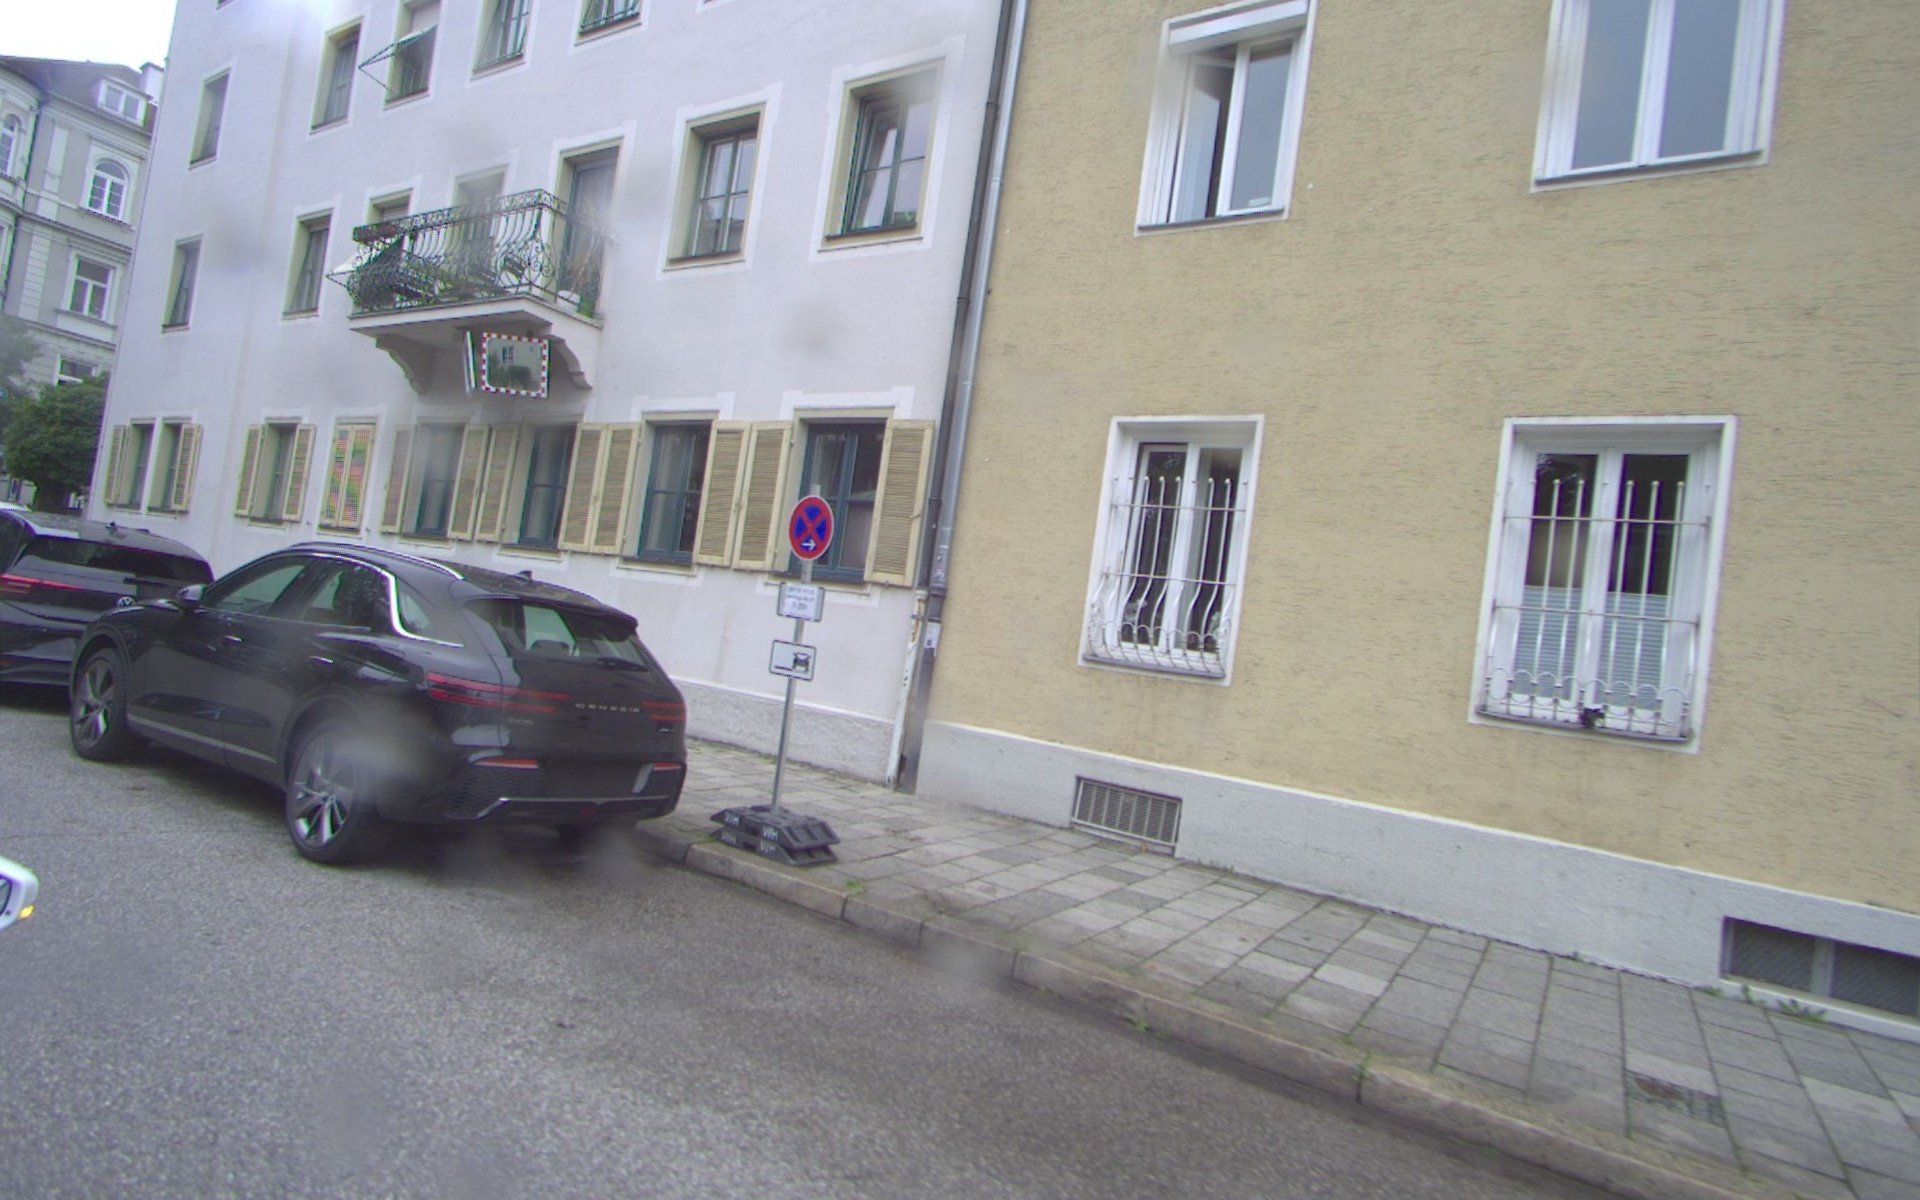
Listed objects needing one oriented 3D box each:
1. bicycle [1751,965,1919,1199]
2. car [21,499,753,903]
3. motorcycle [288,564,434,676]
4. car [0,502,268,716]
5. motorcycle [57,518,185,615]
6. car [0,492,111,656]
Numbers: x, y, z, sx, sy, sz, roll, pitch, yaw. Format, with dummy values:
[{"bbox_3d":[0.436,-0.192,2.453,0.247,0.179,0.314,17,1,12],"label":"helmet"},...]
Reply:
[{"bbox_3d":[2.223,1.334,1.171,1.976,1.153,0.675,7,-4,29],"label":"bicycle"},{"bbox_3d":[-3.880,0.427,6.545,4.817,1.595,1.865,7,-2,31],"label":"car"},{"bbox_3d":[-8.221,0.262,13.784,1.974,1.252,0.734,6,-4,32],"label":"motorcycle"},{"bbox_3d":[-8.454,-0.054,9.287,4.345,1.549,1.841,6,-2,35],"label":"car"},{"bbox_3d":[-15.433,-0.635,18.473,2.662,1.449,0.859,7,-3,32],"label":"motorcycle"},{"bbox_3d":[-12.642,-0.554,12.371,4.461,1.724,2.000,6,-5,34],"label":"car"}]
